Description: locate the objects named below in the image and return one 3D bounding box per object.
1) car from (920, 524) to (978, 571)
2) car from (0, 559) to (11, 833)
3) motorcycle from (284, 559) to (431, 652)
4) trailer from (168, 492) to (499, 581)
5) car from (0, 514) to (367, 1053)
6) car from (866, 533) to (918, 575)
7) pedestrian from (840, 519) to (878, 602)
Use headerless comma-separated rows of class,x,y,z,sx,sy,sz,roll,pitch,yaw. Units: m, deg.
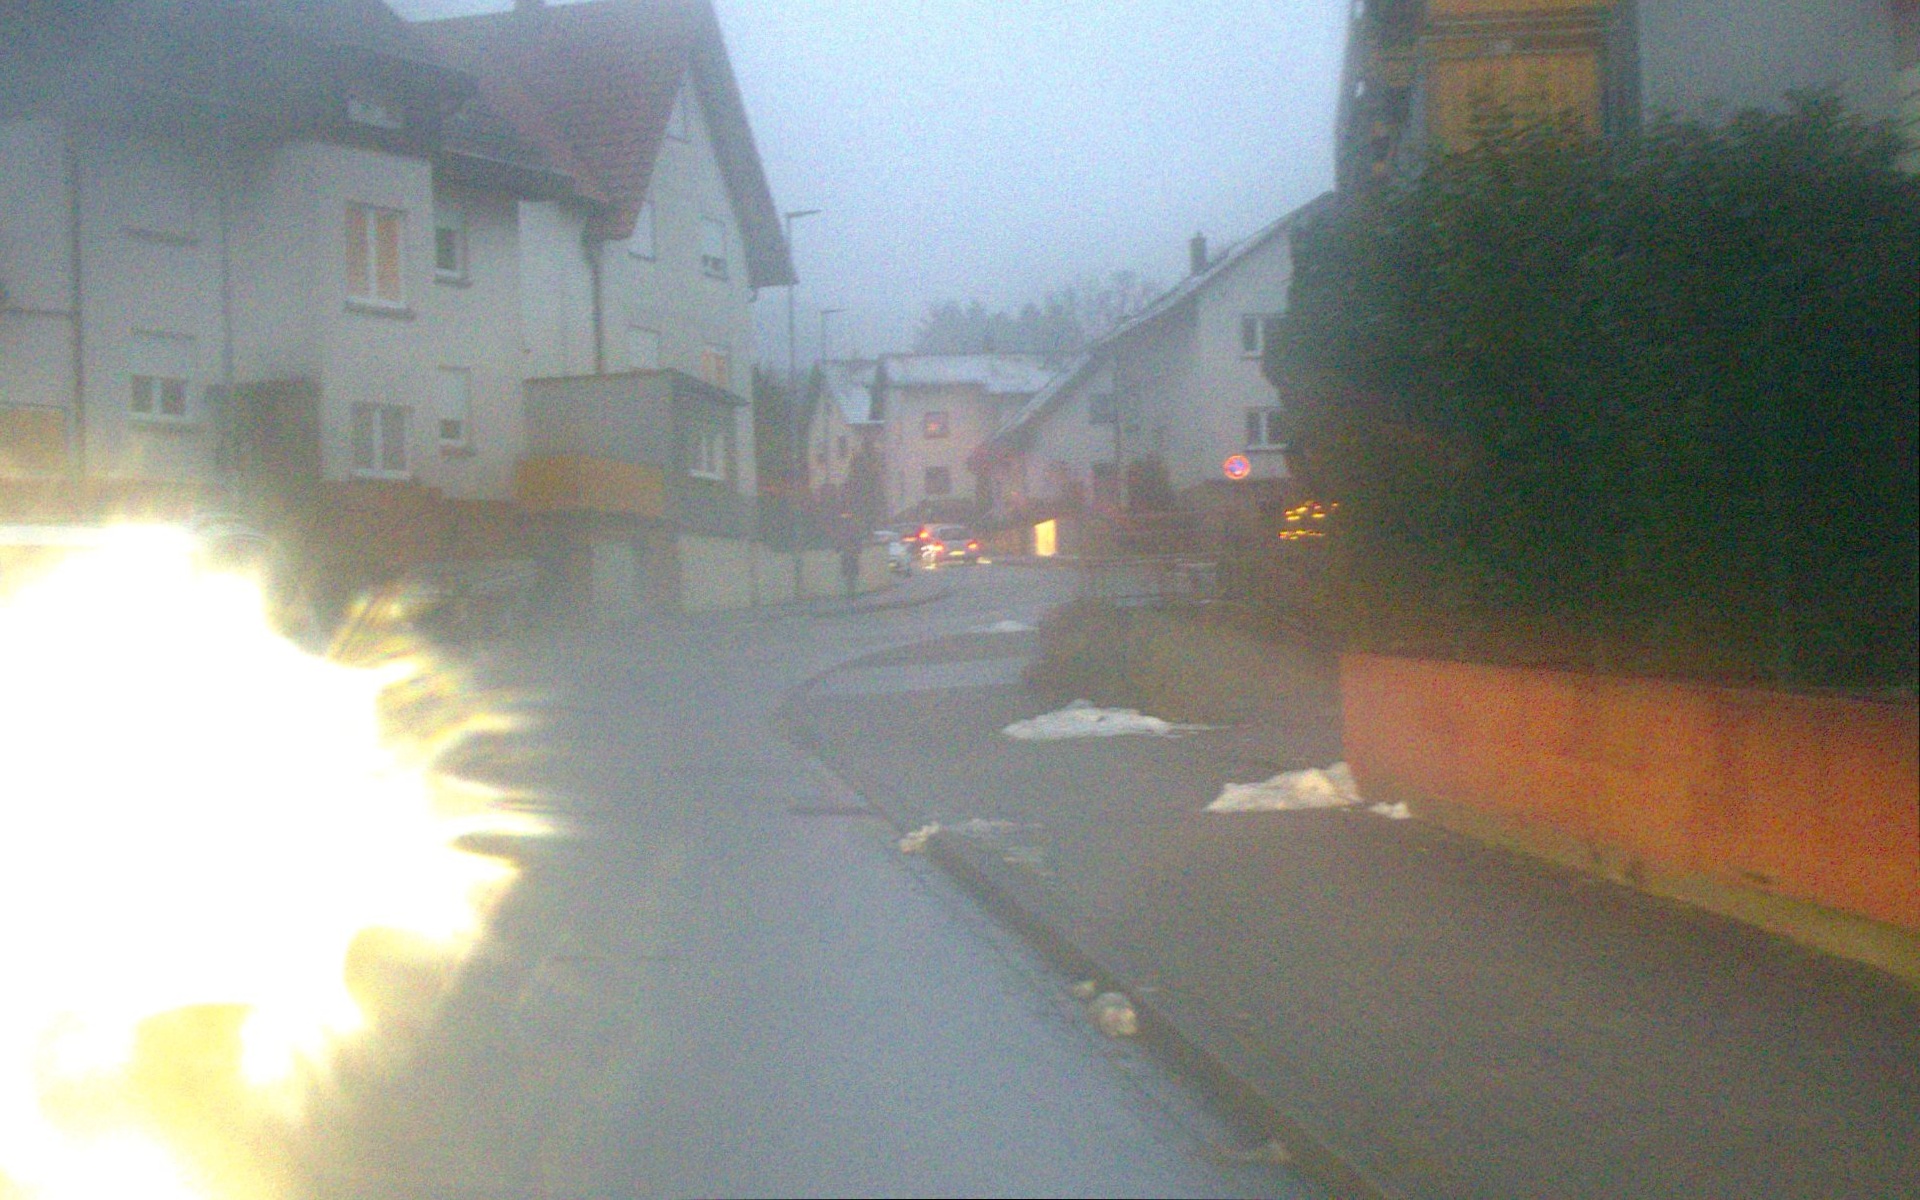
car,-0.406,-1.897,124.581,1.993,1.612,4.000,1,0,-1
car,-5.759,0.542,16.286,1.823,1.436,4.068,0,1,-7
motorcycle,-8.665,0.059,49.414,1.054,1.294,2.237,-1,1,-42
trailer,-9.461,-0.974,52.262,2.063,1.164,4.858,5,4,35
car,-3.252,0.542,12.048,1.757,1.575,4.000,0,0,-2
car,-2.771,-1.858,140.036,1.993,1.612,4.000,1,0,-2
pedestrian,-2.110,-0.819,72.093,0.598,1.727,0.811,0,0,14
